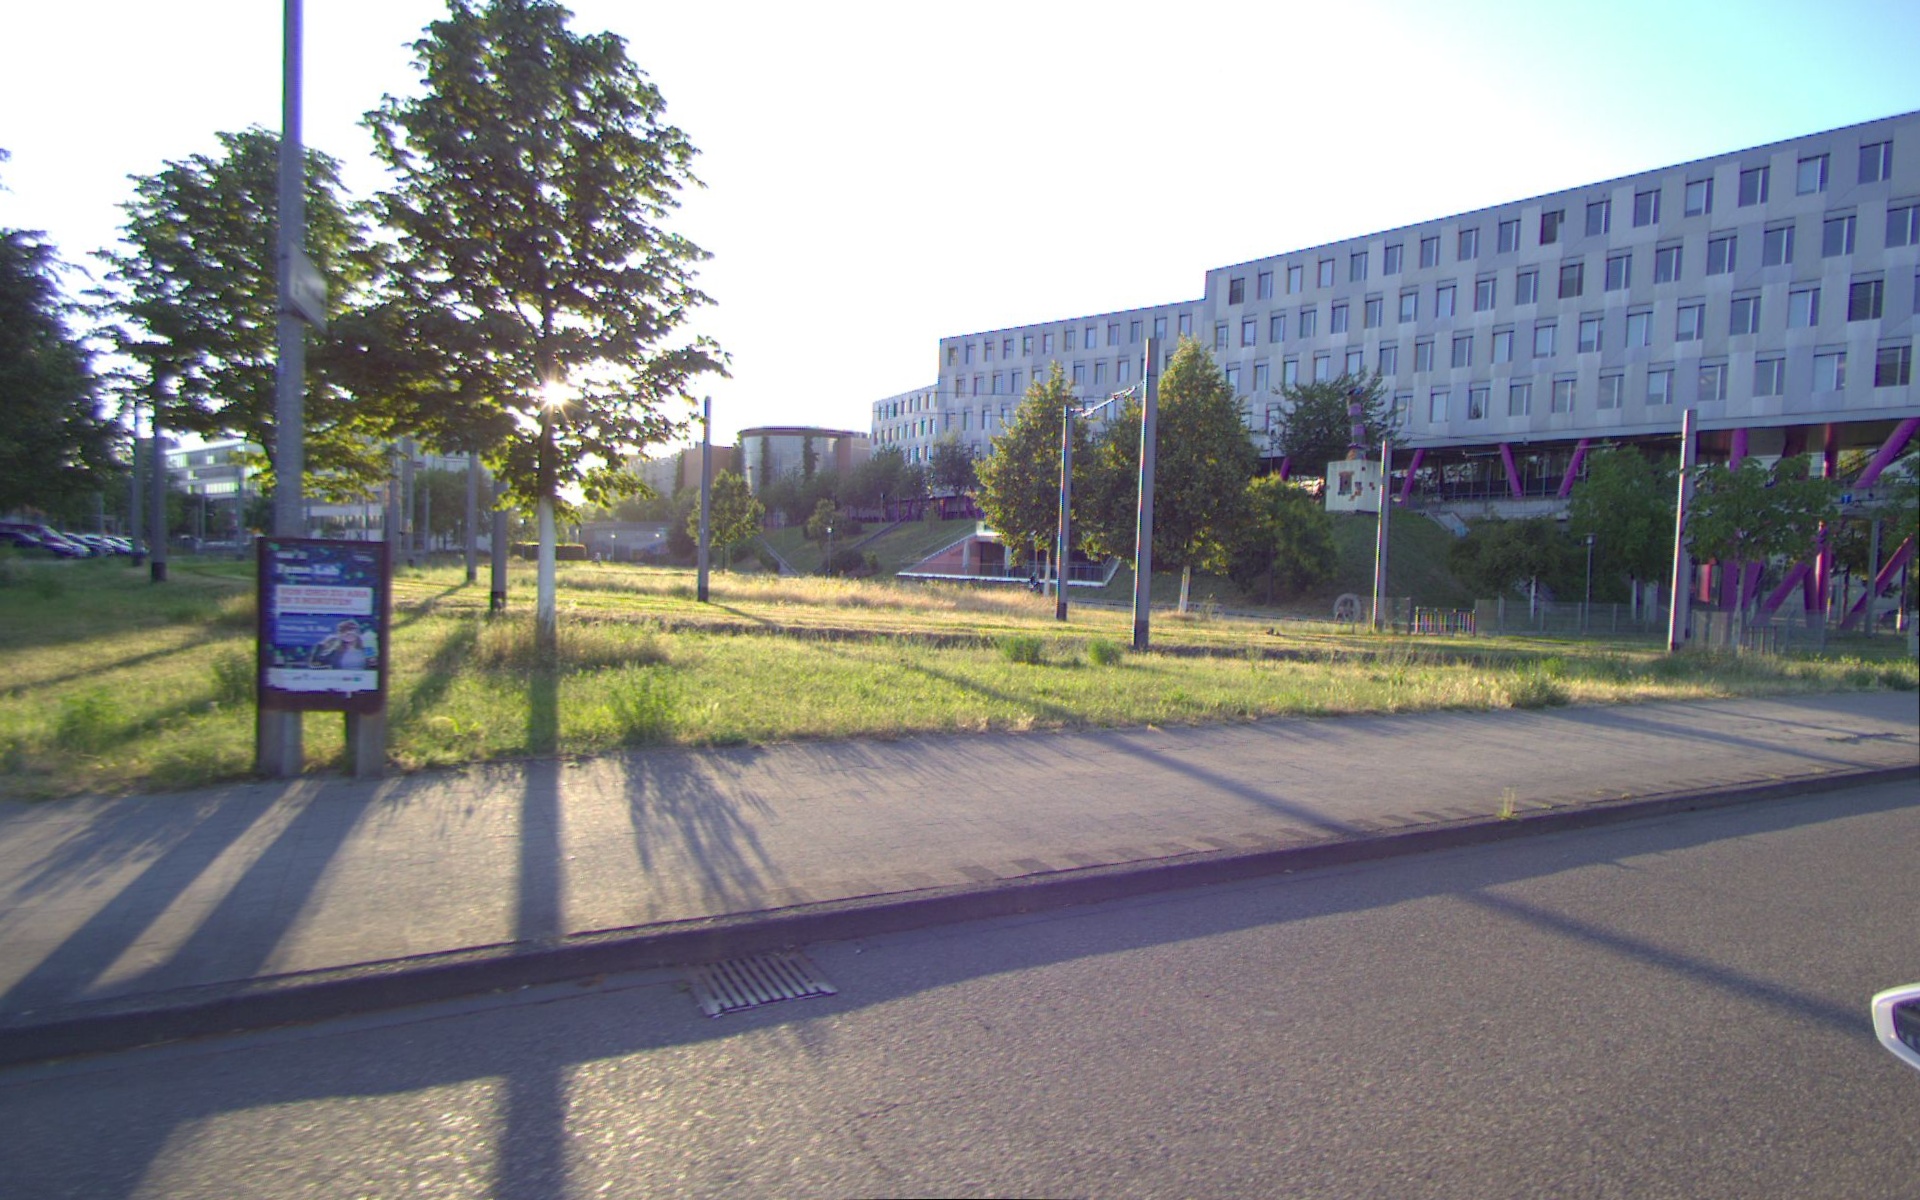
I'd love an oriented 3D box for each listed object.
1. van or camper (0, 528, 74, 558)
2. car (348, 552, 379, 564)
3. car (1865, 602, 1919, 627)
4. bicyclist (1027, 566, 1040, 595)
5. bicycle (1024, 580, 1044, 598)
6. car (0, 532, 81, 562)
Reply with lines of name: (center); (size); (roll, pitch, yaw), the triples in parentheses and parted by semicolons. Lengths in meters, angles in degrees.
van or camper: (-57.142, -3.475, 61.636); (3.831, 1.718, 1.821); (0, 3, -28)
car: (-86.241, -6.142, 145.289); (3.832, 1.635, 1.690); (0, 3, -29)
car: (76.476, 1.150, 81.296); (1.923, 1.841, 4.444); (0, 3, -31)
bicyclist: (3.917, -1.036, 53.556); (0.419, 1.515, 0.510); (0, 3, -28)
bicycle: (3.939, -0.586, 53.511); (0.426, 0.912, 1.226); (0, 3, -29)
car: (-55.230, -3.168, 59.961); (3.836, 1.718, 1.688); (0, 3, -32)
